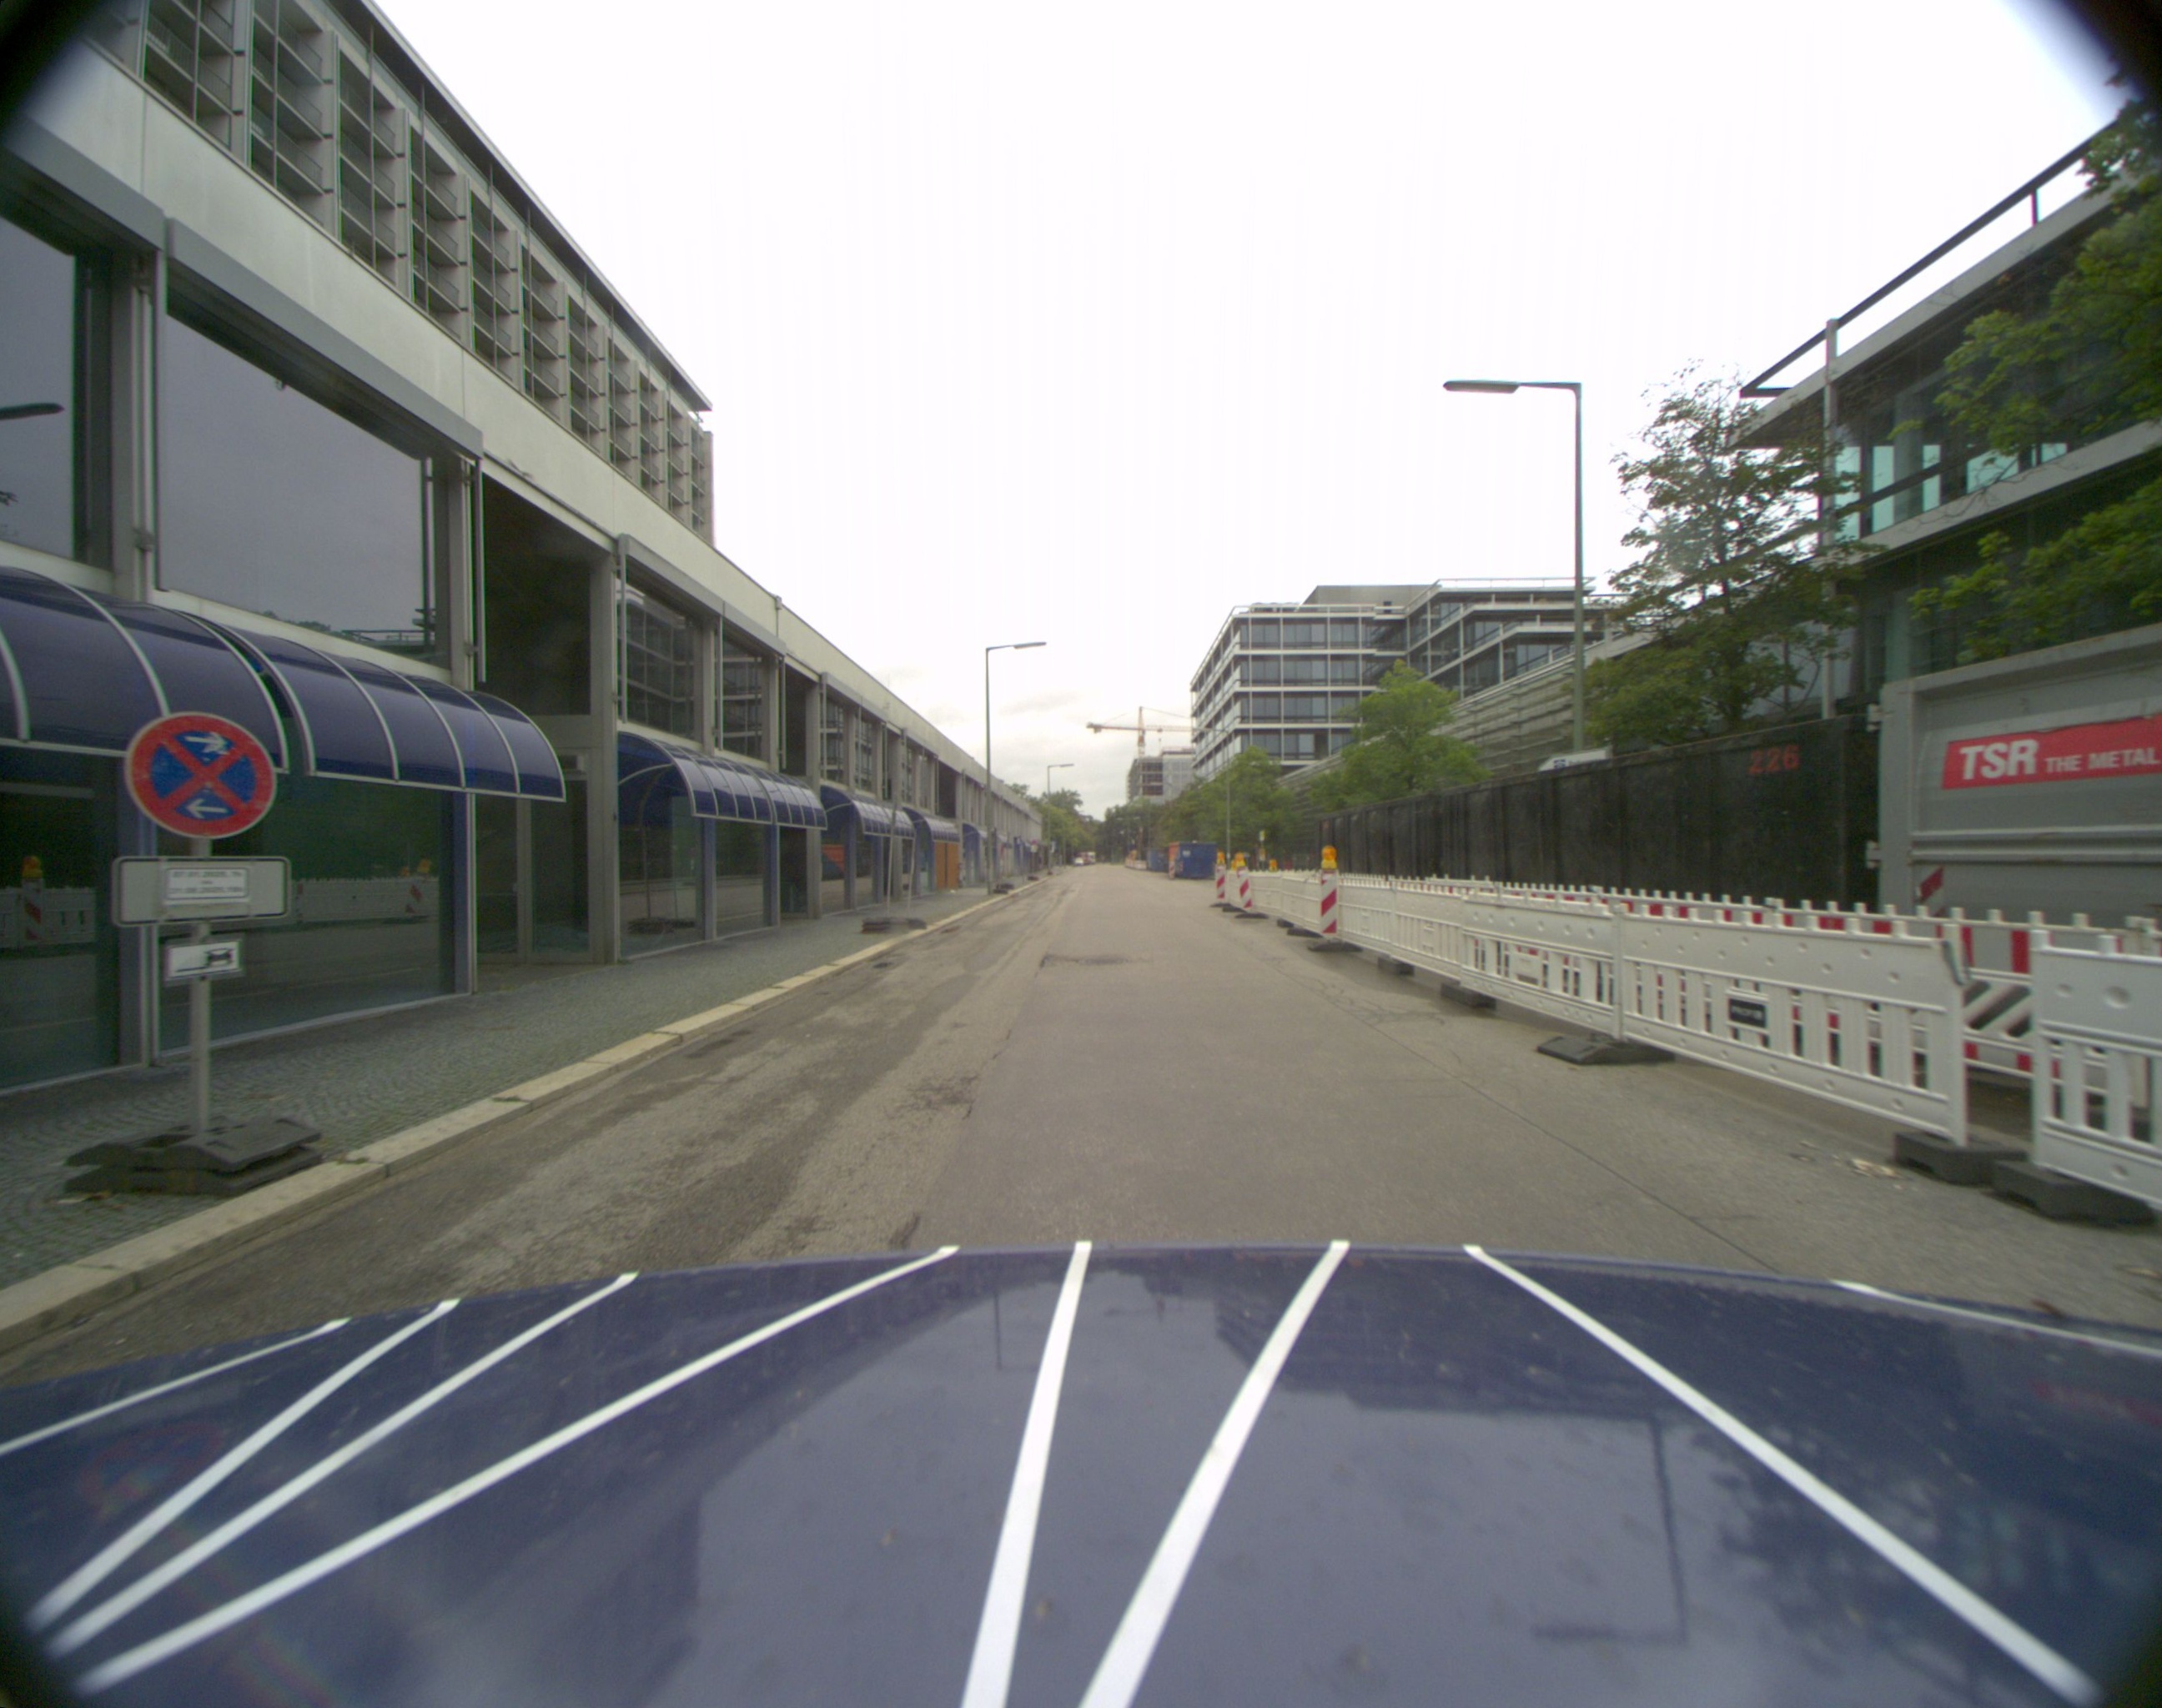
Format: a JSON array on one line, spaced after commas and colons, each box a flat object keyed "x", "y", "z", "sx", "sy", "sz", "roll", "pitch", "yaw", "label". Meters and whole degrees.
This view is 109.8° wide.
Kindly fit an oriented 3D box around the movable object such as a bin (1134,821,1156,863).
[{"x": 9.943, "y": -1.768, "z": 119.146, "sx": 3.241, "sy": 6.285, "sz": 8.338, "roll": 0, "pitch": 0, "yaw": 4, "label": "movable object such as a bin"}]

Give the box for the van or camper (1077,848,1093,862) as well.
[{"x": 0.791, "y": 0.211, "z": 151.606, "sx": 2.666, "sy": 2.751, "sz": 6.917, "roll": 0, "pitch": 0, "yaw": 4, "label": "van or camper"}]

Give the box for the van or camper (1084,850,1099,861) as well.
[{"x": 2.308, "y": 0.285, "z": 165.883, "sx": 2.665, "sy": 2.436, "sz": 6.448, "roll": 0, "pitch": 0, "yaw": 7, "label": "van or camper"}]

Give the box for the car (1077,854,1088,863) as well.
[{"x": 0.268, "y": 0.797, "z": 145.342, "sx": 1.912, "sy": 1.627, "sz": 4.001, "roll": 0, "pitch": 0, "yaw": 3, "label": "car"}]
